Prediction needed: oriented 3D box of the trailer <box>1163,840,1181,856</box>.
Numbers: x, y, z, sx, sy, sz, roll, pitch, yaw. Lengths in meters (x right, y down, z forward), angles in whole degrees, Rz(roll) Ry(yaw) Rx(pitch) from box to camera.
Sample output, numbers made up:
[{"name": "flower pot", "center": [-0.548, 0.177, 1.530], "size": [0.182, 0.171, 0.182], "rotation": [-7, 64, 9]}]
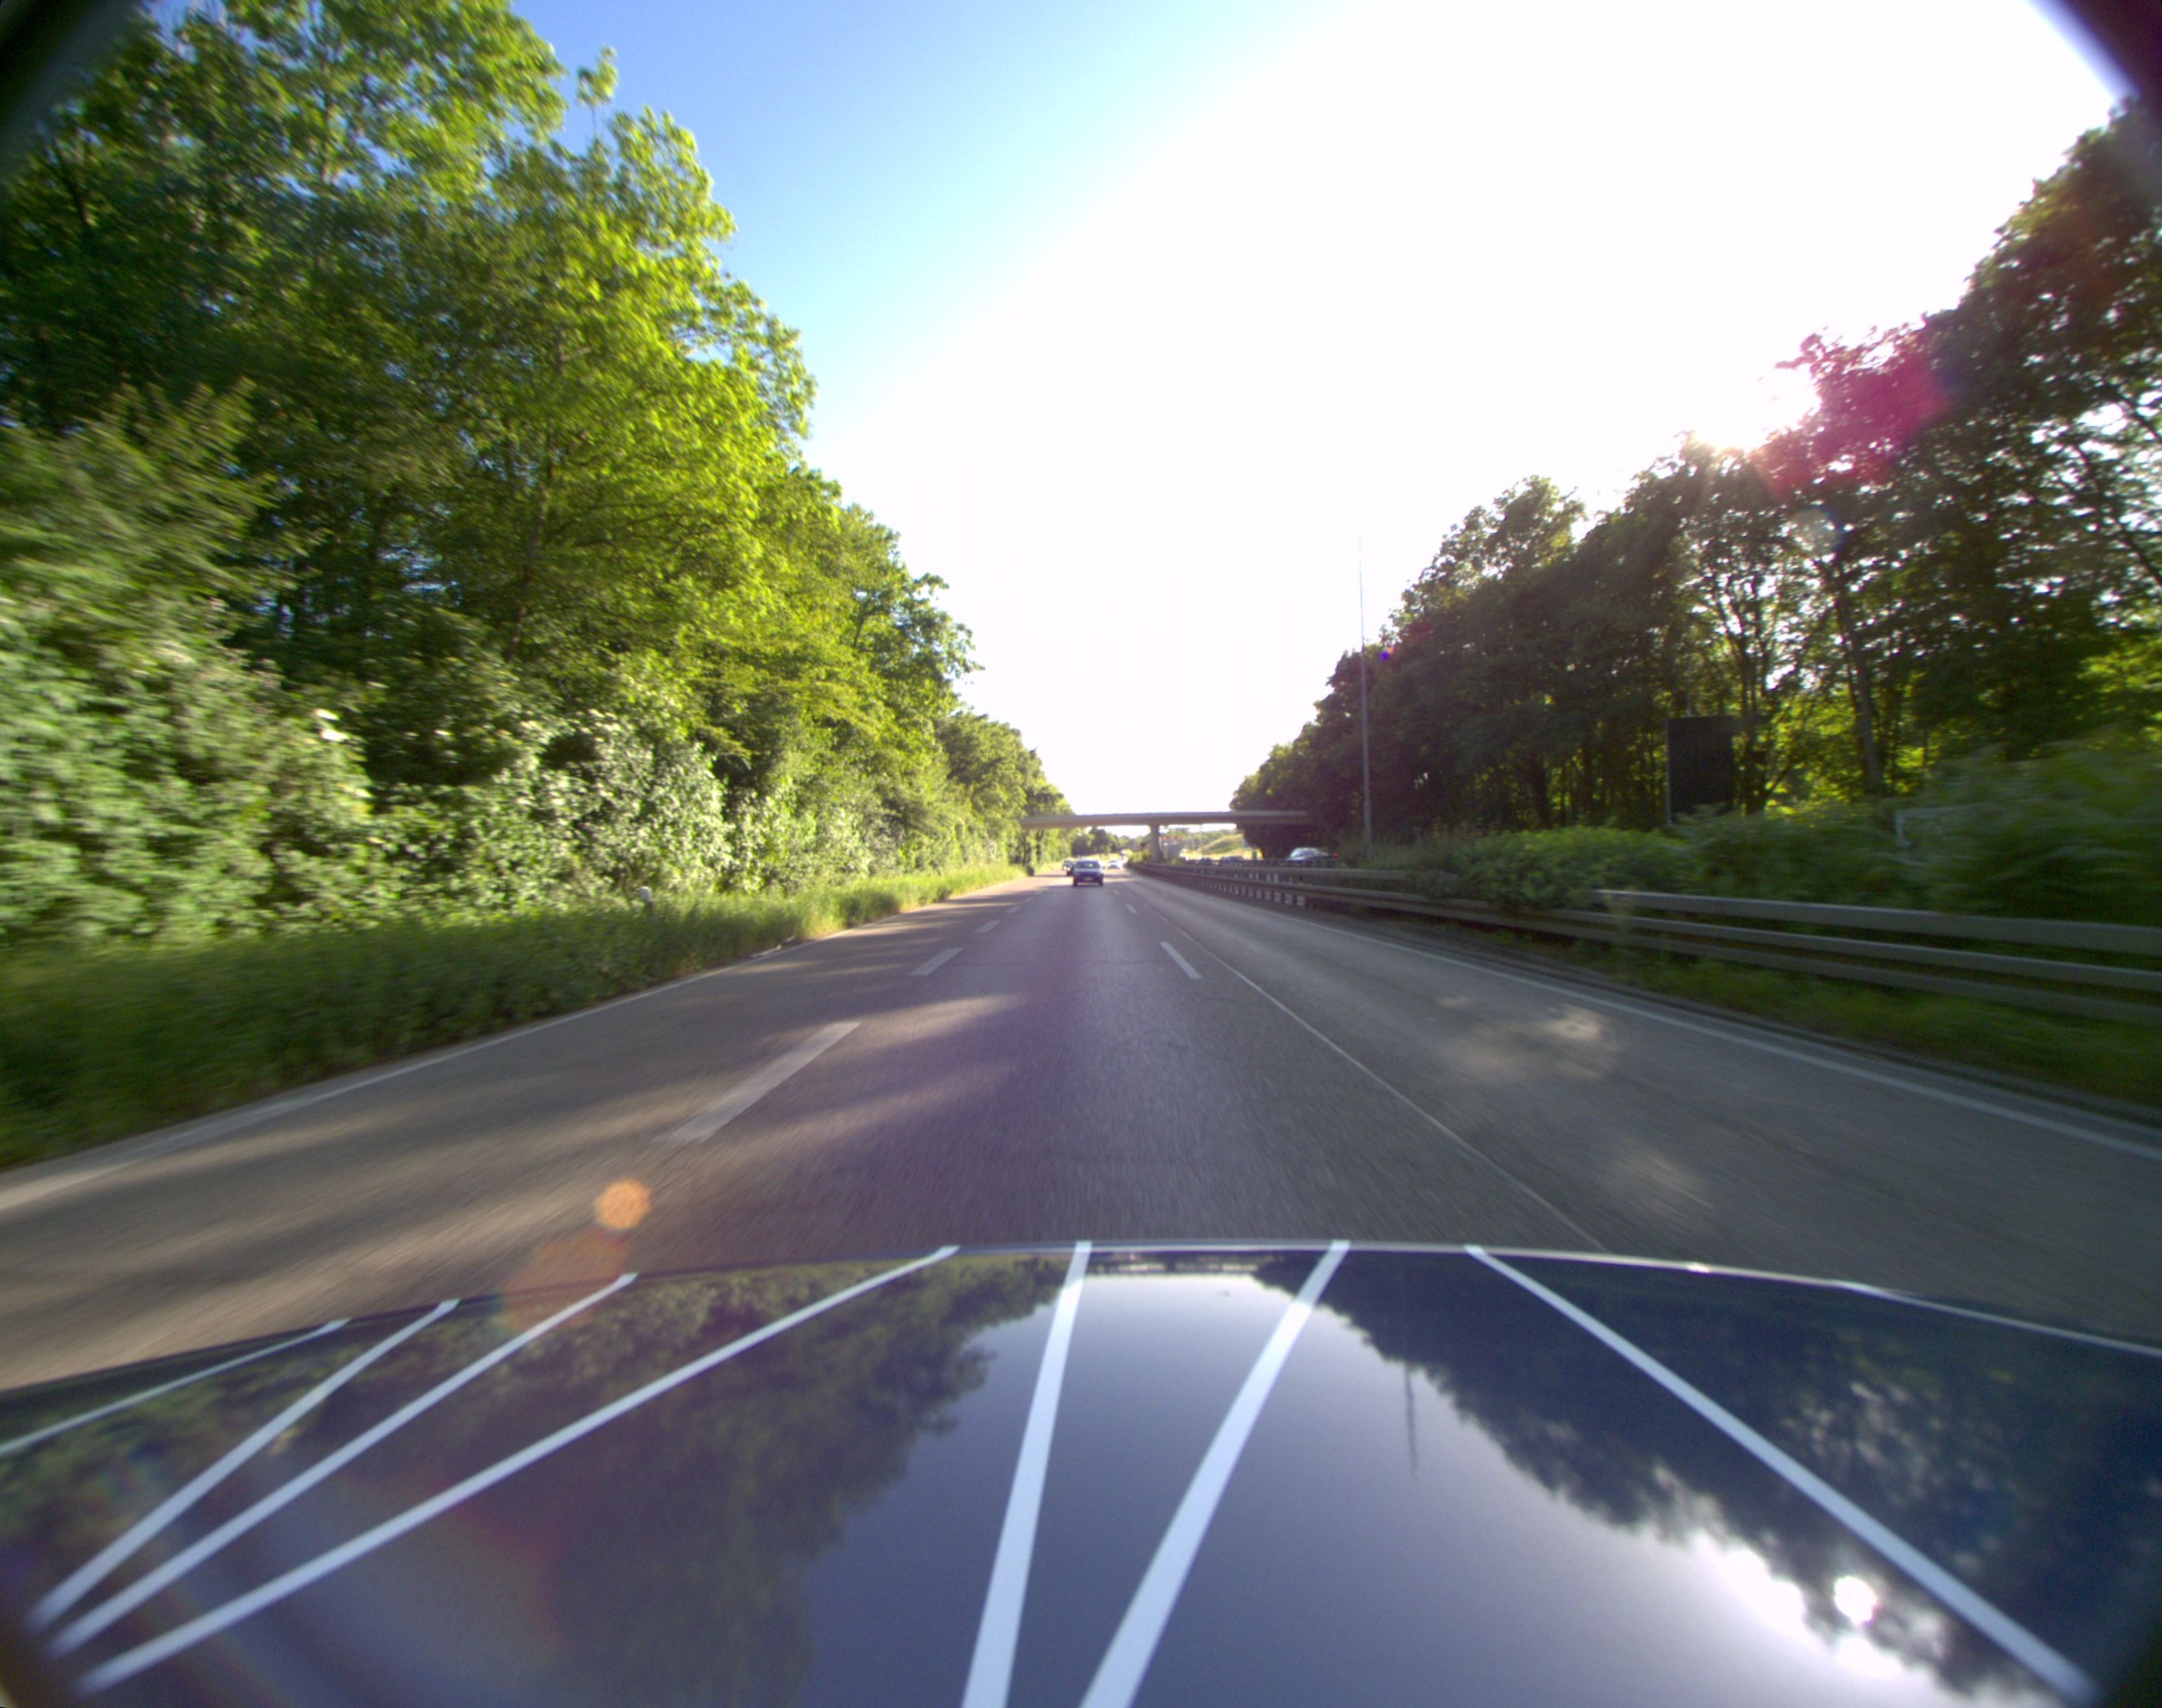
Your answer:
[{"name": "trailer", "center": [19.291, -1.289, 161.821], "size": [2.937, 3.149, 11.917], "rotation": [0, 0, 2]}]

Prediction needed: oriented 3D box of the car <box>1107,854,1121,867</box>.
[{"name": "car", "center": [4.744, 0.899, 108.785], "size": [1.998, 1.793, 4.000], "rotation": [0, 0, 2]}]

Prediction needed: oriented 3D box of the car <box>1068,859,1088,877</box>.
[{"name": "car", "center": [-0.269, 1.277, 68.852], "size": [1.712, 1.565, 3.422], "rotation": [0, 0, 1]}]

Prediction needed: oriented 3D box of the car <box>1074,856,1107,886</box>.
[{"name": "car", "center": [0.585, 0.988, 44.679], "size": [1.712, 1.565, 3.423], "rotation": [-4, 0, 3]}]

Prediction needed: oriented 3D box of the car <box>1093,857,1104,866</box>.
[{"name": "car", "center": [3.534, 1.453, 152.349], "size": [1.998, 1.739, 4.373], "rotation": [0, 0, 2]}]

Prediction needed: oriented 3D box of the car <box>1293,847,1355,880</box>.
[{"name": "car", "center": [11.622, 0.417, 36.633], "size": [1.754, 1.488, 3.943], "rotation": [0, 0, 1]}]

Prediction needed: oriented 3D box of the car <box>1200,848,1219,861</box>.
[{"name": "car", "center": [17.539, 0.107, 103.765], "size": [1.998, 1.739, 4.343], "rotation": [0, 0, 1]}]

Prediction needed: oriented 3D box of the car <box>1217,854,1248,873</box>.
[{"name": "car", "center": [12.317, 0.762, 62.028], "size": [1.734, 1.480, 4.397], "rotation": [-1, 0, 1]}]
